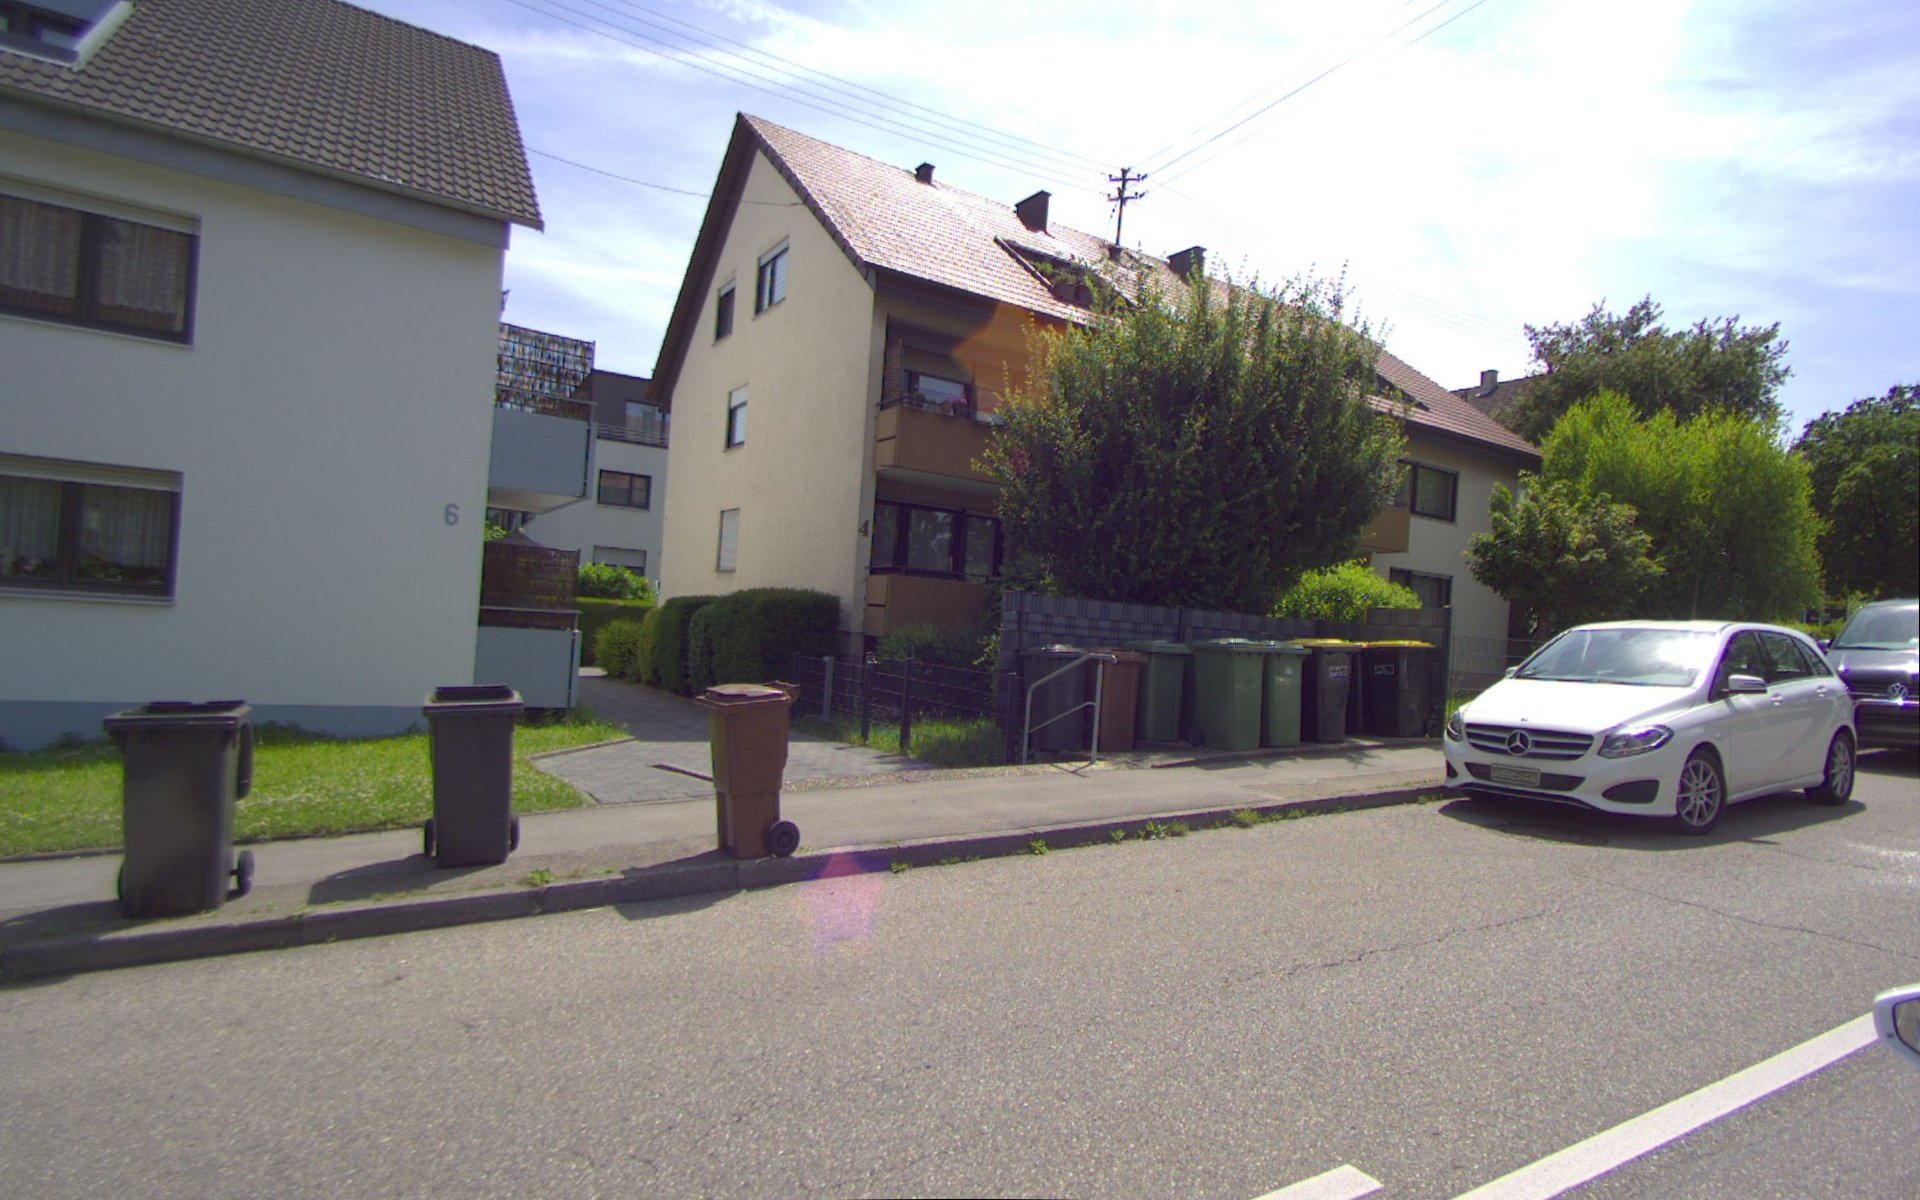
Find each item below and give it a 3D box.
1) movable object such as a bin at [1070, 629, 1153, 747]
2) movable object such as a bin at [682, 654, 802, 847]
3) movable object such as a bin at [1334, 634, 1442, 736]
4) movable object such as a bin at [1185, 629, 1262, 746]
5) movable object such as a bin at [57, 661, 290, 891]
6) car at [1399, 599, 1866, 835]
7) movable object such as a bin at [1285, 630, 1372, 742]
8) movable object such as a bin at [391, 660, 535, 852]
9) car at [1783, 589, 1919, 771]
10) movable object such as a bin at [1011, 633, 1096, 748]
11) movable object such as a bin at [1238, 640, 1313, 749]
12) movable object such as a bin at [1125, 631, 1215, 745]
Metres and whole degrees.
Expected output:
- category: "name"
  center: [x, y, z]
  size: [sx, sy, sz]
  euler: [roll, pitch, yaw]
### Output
- category: "movable object such as a bin"
  center: [1.599, 0.910, 10.614]
  size: [0.665, 1.193, 0.545]
  euler: [2, -1, -25]
- category: "movable object such as a bin"
  center: [-1.240, 0.823, 5.686]
  size: [0.555, 1.001, 0.505]
  euler: [2, 0, -23]
- category: "movable object such as a bin"
  center: [4.894, 0.944, 11.508]
  size: [0.687, 1.084, 0.895]
  euler: [2, -1, -30]
- category: "movable object such as a bin"
  center: [2.602, 0.854, 9.932]
  size: [0.523, 1.119, 0.514]
  euler: [3, -3, -31]
- category: "movable object such as a bin"
  center: [-3.561, 0.762, 4.612]
  size: [0.676, 0.930, 0.618]
  euler: [2, -1, -23]
- category: "car"
  center: [5.870, 0.841, 8.636]
  size: [4.197, 1.570, 1.801]
  euler: [2, 0, -33]
- category: "movable object such as a bin"
  center: [3.851, 0.891, 10.507]
  size: [0.700, 1.119, 0.496]
  euler: [3, -3, -24]
- category: "movable object such as a bin"
  center: [-2.641, 0.802, 5.396]
  size: [0.633, 0.930, 0.562]
  euler: [2, -1, -23]
- category: "car"
  center: [12.145, 0.924, 12.254]
  size: [4.818, 1.945, 1.886]
  euler: [2, -2, -33]
- category: "movable object such as a bin"
  center: [0.955, 0.912, 10.293]
  size: [0.641, 1.111, 0.601]
  euler: [2, -1, -23]
- category: "movable object such as a bin"
  center: [3.187, 0.945, 10.160]
  size: [0.552, 1.057, 0.455]
  euler: [3, -3, -23]
- category: "movable object such as a bin"
  center: [2.293, 0.945, 10.963]
  size: [0.828, 1.193, 0.475]
  euler: [2, -1, -25]
